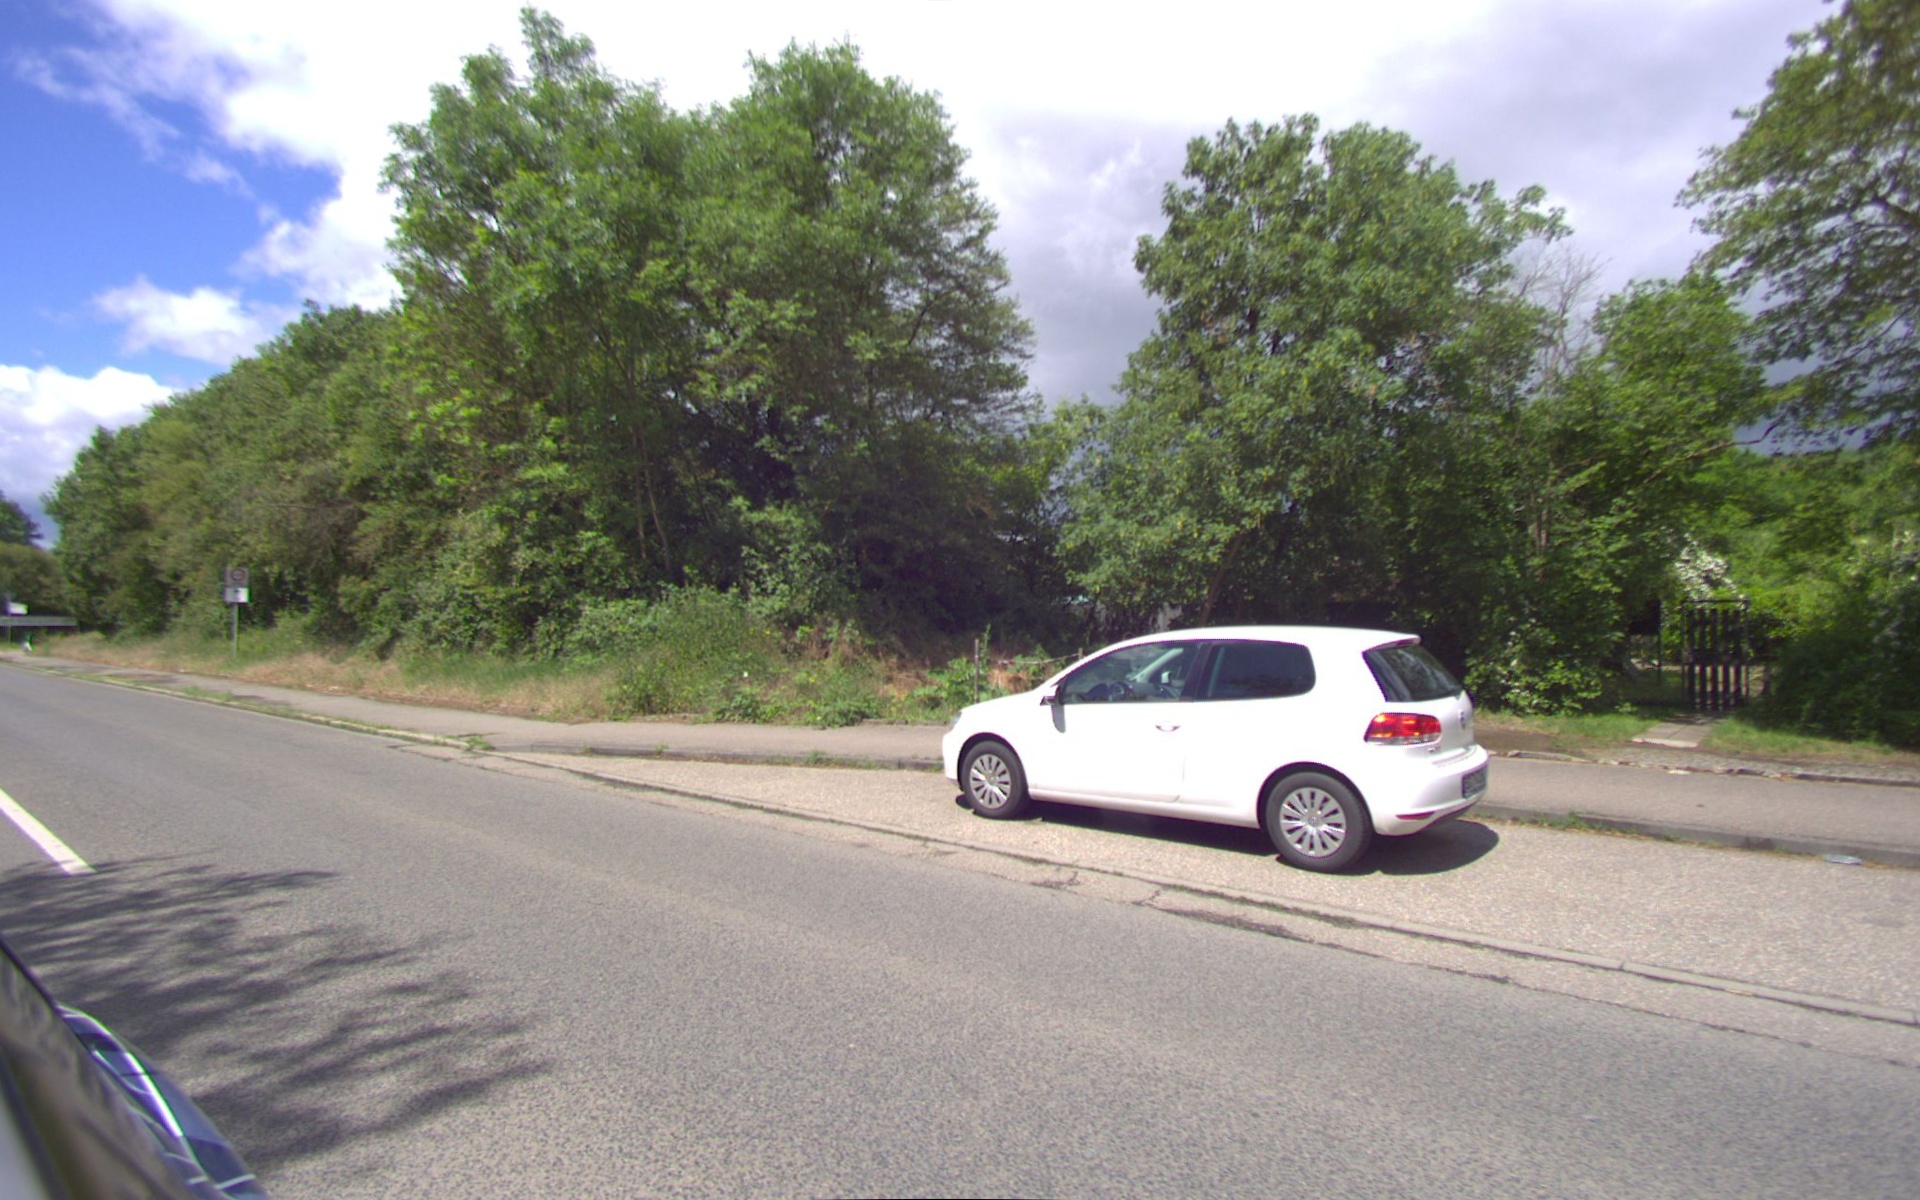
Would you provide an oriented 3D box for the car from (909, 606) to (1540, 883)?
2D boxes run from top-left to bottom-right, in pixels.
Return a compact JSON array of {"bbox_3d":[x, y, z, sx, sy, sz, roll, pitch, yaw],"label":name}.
[{"bbox_3d":[1.772,0.822,7.594,4.242,1.481,1.750,-1,0,40],"label":"car"}]
